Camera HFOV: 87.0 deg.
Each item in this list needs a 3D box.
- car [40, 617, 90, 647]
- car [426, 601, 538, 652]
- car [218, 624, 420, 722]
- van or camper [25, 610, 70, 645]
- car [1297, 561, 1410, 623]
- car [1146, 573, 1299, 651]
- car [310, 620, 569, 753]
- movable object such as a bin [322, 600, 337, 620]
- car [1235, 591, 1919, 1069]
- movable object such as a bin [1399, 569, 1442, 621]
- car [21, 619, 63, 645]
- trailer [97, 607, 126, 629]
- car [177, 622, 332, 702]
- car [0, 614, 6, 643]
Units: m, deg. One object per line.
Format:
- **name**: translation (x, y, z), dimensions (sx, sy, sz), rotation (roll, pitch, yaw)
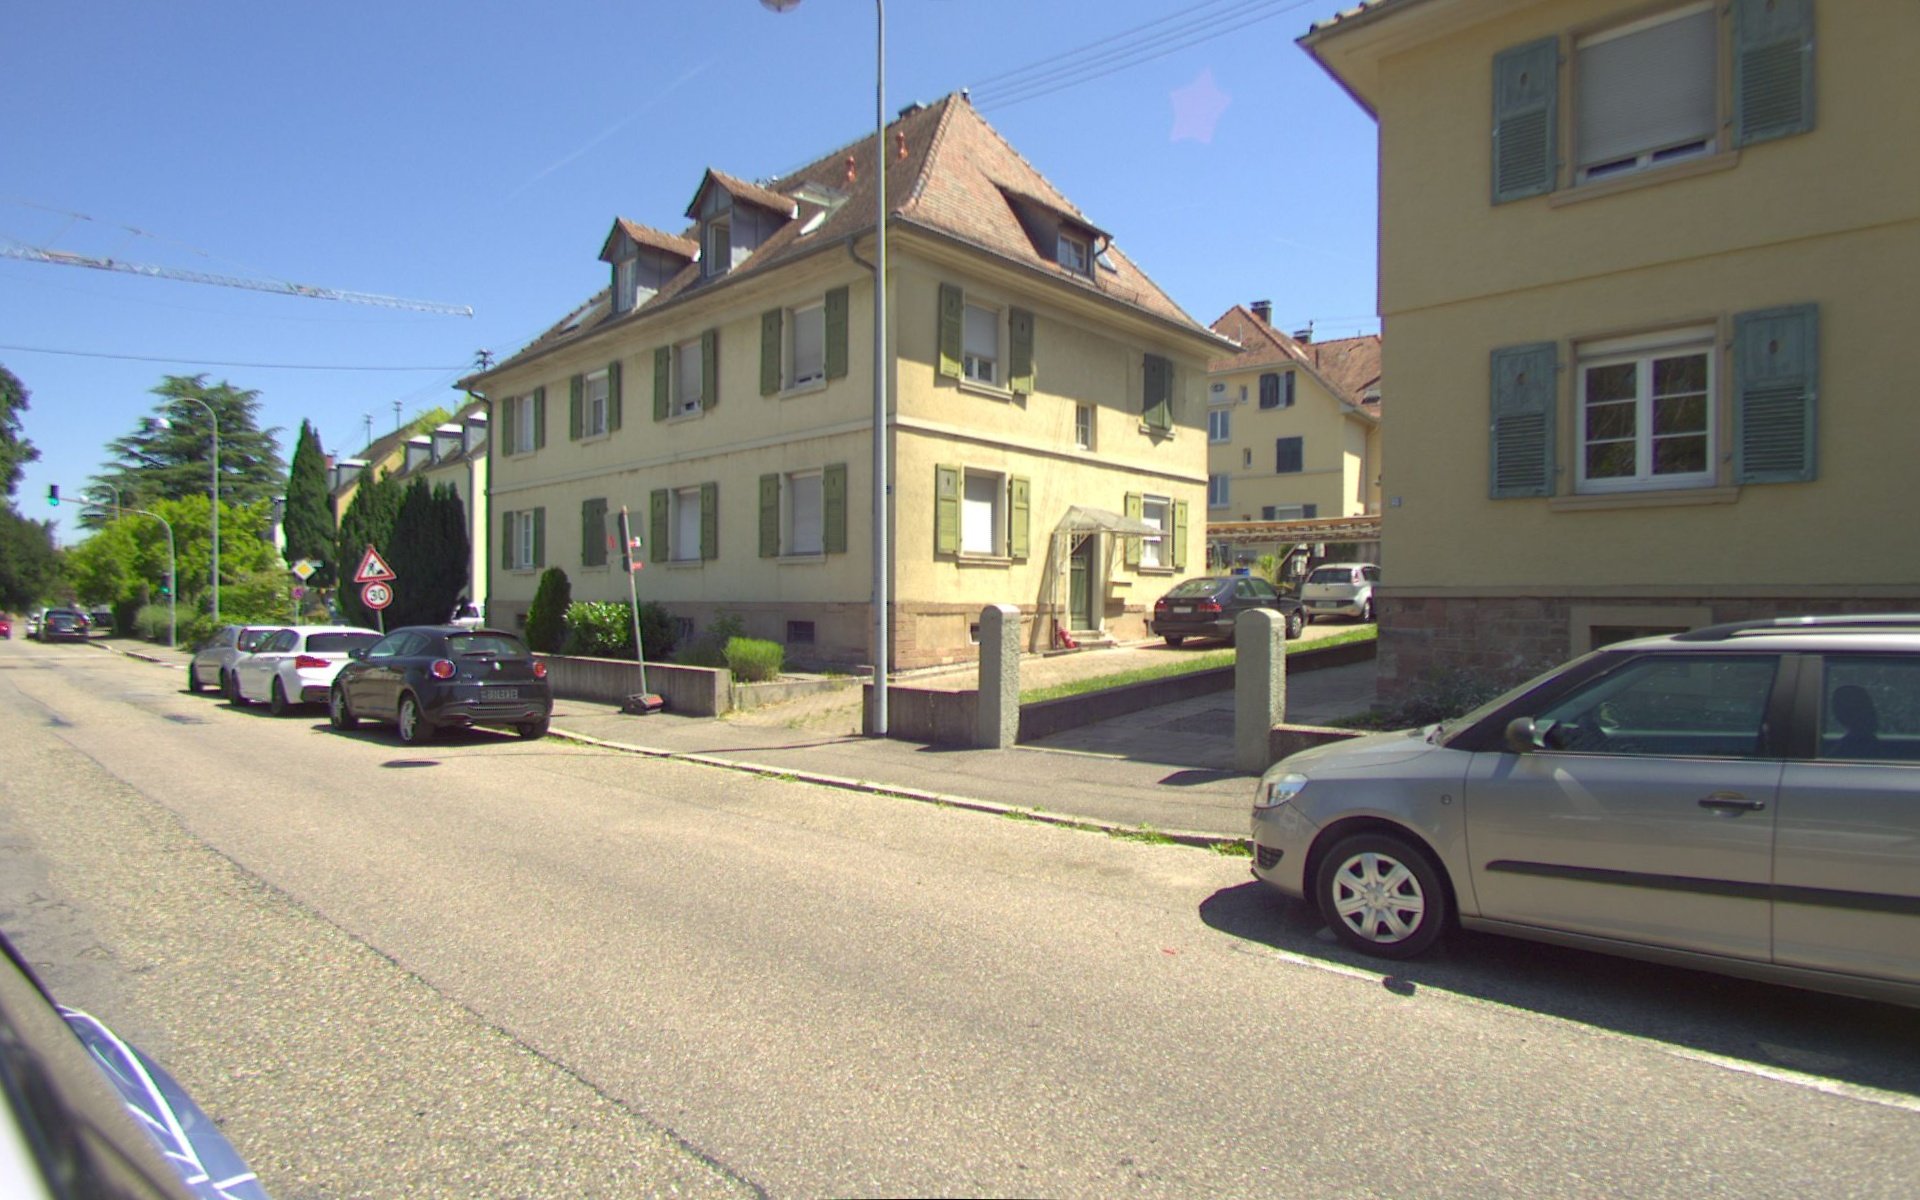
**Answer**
- **car**: translation (-45.567, 1.633, 51.524), dimensions (1.661, 1.423, 3.929), rotation (3, -2, -44)
- **car**: translation (-16.812, 0.884, 35.609), dimensions (3.163, 1.467, 1.738), rotation (-5, 4, -40)
- **car**: translation (-10.944, 1.148, 17.170), dimensions (4.217, 1.413, 1.775), rotation (0, -2, 42)
- **van or camper**: translation (-49.356, 1.485, 54.721), dimensions (1.661, 1.818, 3.989), rotation (3, -2, -43)
- **car**: translation (10.233, -0.210, 26.212), dimensions (1.663, 1.475, 3.559), rotation (-1, 0, 40)
- **car**: translation (5.521, 0.212, 21.032), dimensions (1.663, 1.475, 3.658), rotation (-1, 0, 40)
- **car**: translation (-7.121, 1.054, 13.675), dimensions (4.075, 1.496, 1.697), rotation (0, -2, 41)
- **movable object such as a bin**: translation (-38.042, 0.588, 61.046), dimensions (0.613, 1.205, 0.674), rotation (1, -1, -43)
- **car**: translation (3.386, 0.783, 4.149), dimensions (4.062, 1.537, 1.668), rotation (-1, -4, 43)
- **movable object such as a bin**: translation (11.294, -0.110, 24.807), dimensions (0.768, 1.240, 0.723), rotation (1, -1, -44)
- **car**: translation (-53.247, 1.842, 58.731), dimensions (1.660, 1.452, 4.253), rotation (3, -2, -41)
- **trailer**: translation (-82.939, 1.794, 98.917), dimensions (1.790, 2.049, 4.009), rotation (3, -3, -36)
- **car**: translation (-14.591, 1.213, 20.852), dimensions (3.923, 1.458, 1.740), rotation (-1, -2, 42)
- **car**: translation (-54.407, 1.577, 56.240), dimensions (3.697, 1.578, 1.794), rotation (-1, -2, 43)
